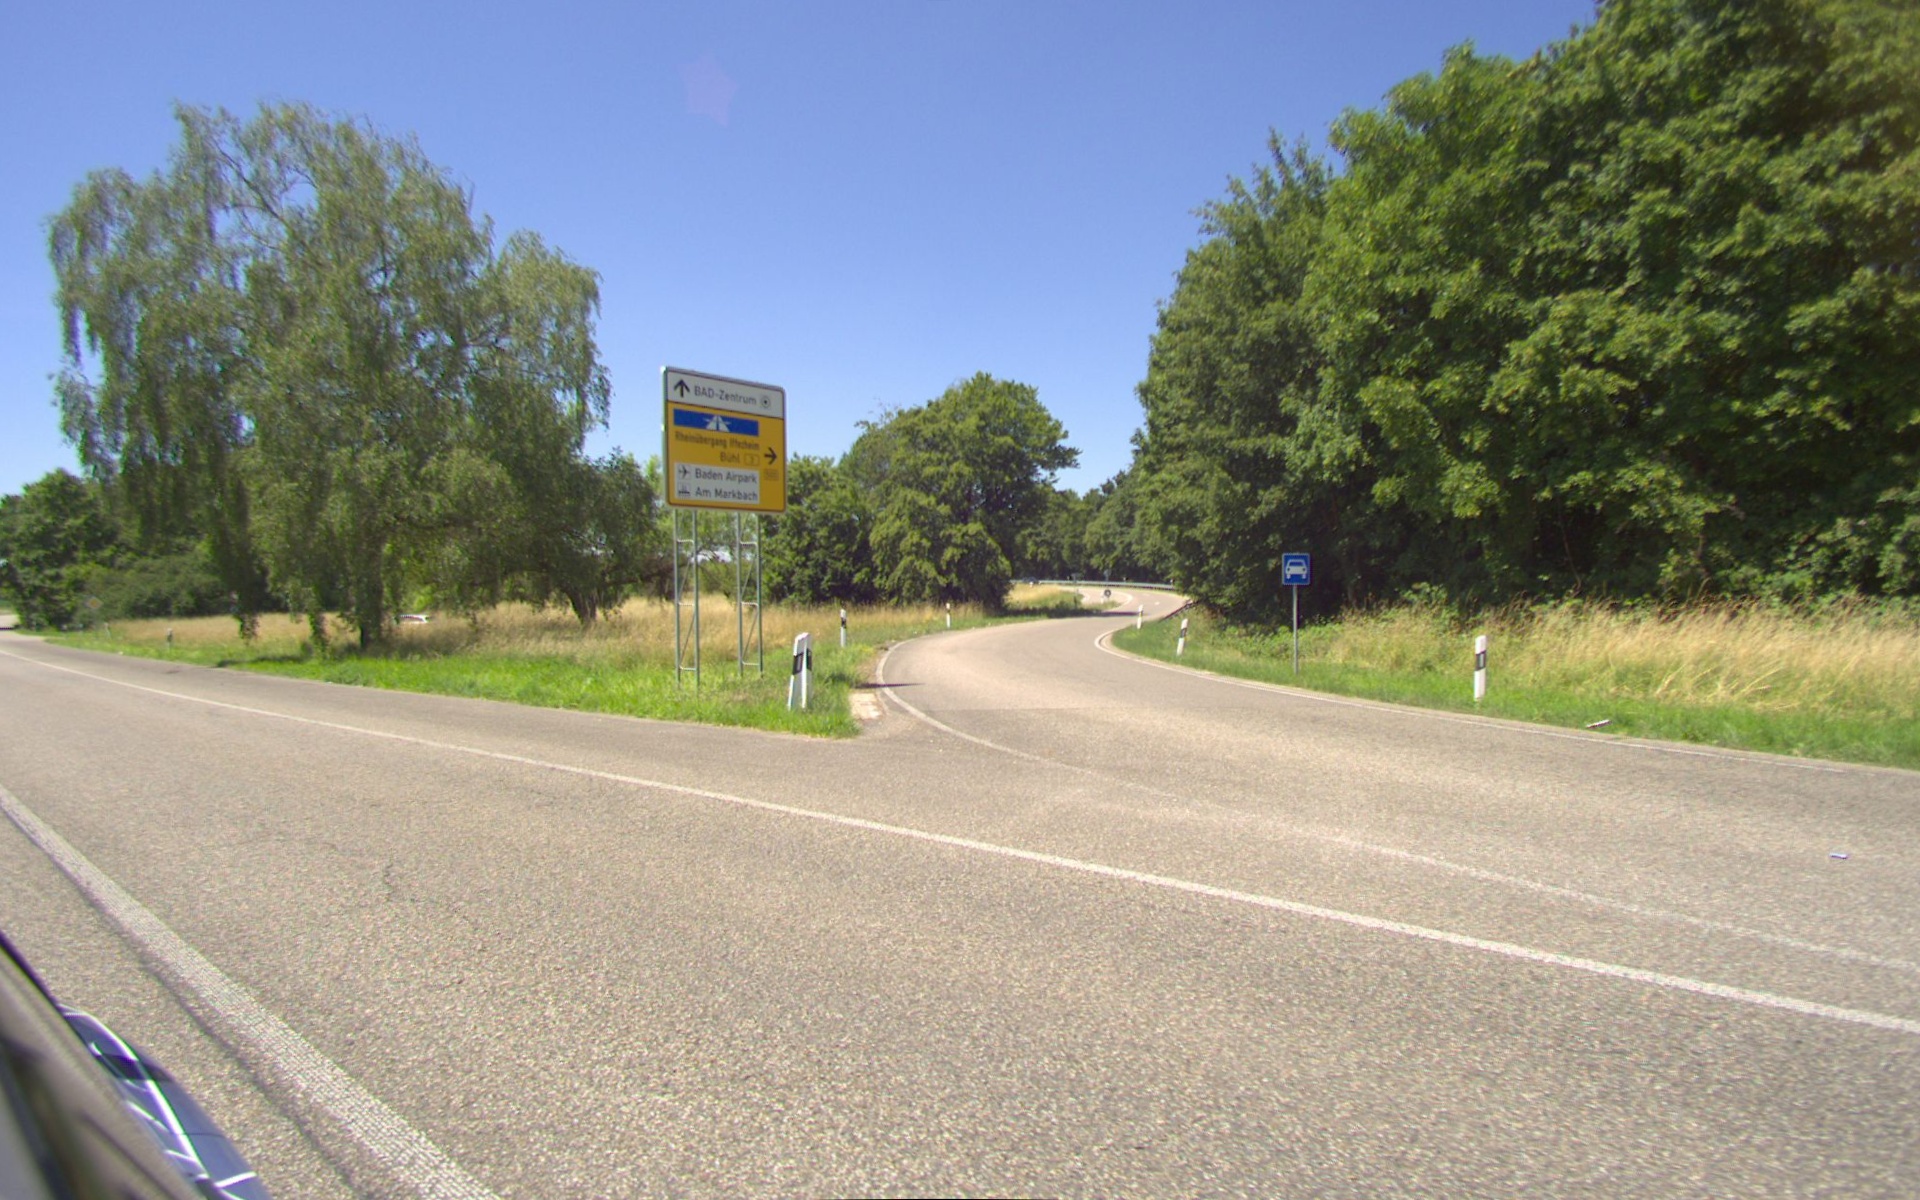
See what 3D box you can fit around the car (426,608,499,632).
[{"bbox_3d":[-32.191,1.271,65.515,3.945,1.478,1.663,-1,-1,1],"label":"car"}]
